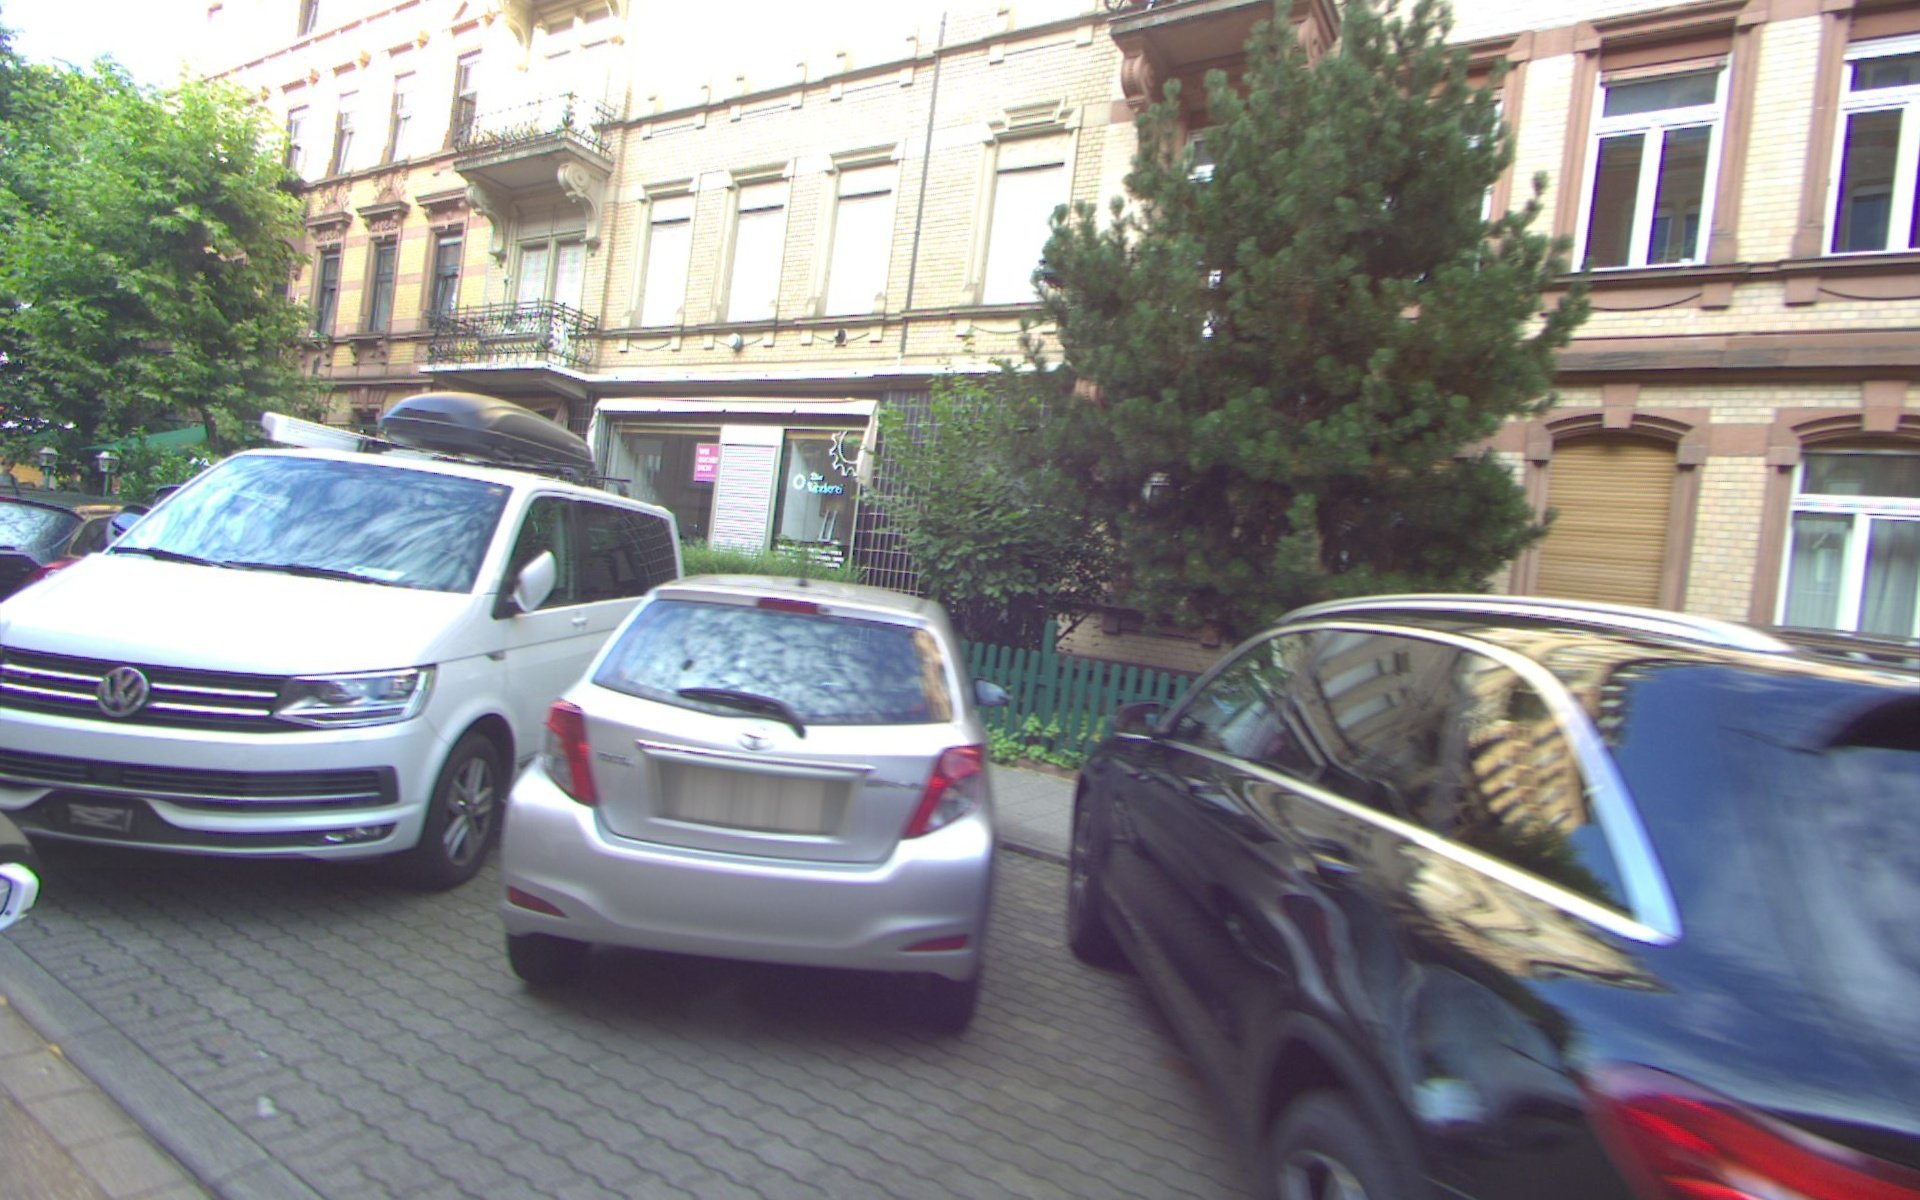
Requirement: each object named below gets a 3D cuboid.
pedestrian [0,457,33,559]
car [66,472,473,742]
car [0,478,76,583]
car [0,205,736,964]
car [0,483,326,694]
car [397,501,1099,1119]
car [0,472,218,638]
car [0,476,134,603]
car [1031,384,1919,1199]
[{"bbox_3d":[-18.578,-1.804,19.352,0.711,1.901,0.839,8,1,36],"label":"pedestrian"},{"bbox_3d":[-5.365,0.010,8.141,1.321,1.689,2.466,8,3,6],"label":"car"},{"bbox_3d":[-14.685,-1.086,13.942,1.711,1.504,3.714,7,1,-6],"label":"car"},{"bbox_3d":[-2.948,-0.075,6.012,1.883,2.435,5.157,7,0,-1],"label":"car"},{"bbox_3d":[-7.782,-0.203,9.270,1.721,1.478,3.986,7,1,-9],"label":"car"},{"bbox_3d":[-0.707,0.662,5.063,1.840,1.567,4.236,9,-1,-3],"label":"car"},{"bbox_3d":[-10.164,-0.554,10.488,1.857,1.496,4.458,7,2,-7],"label":"car"},{"bbox_3d":[-12.588,-0.816,11.975,1.845,1.483,4.463,7,2,-2],"label":"car"},{"bbox_3d":[1.558,0.860,2.928,1.964,1.752,4.457,8,-1,-3],"label":"car"}]
